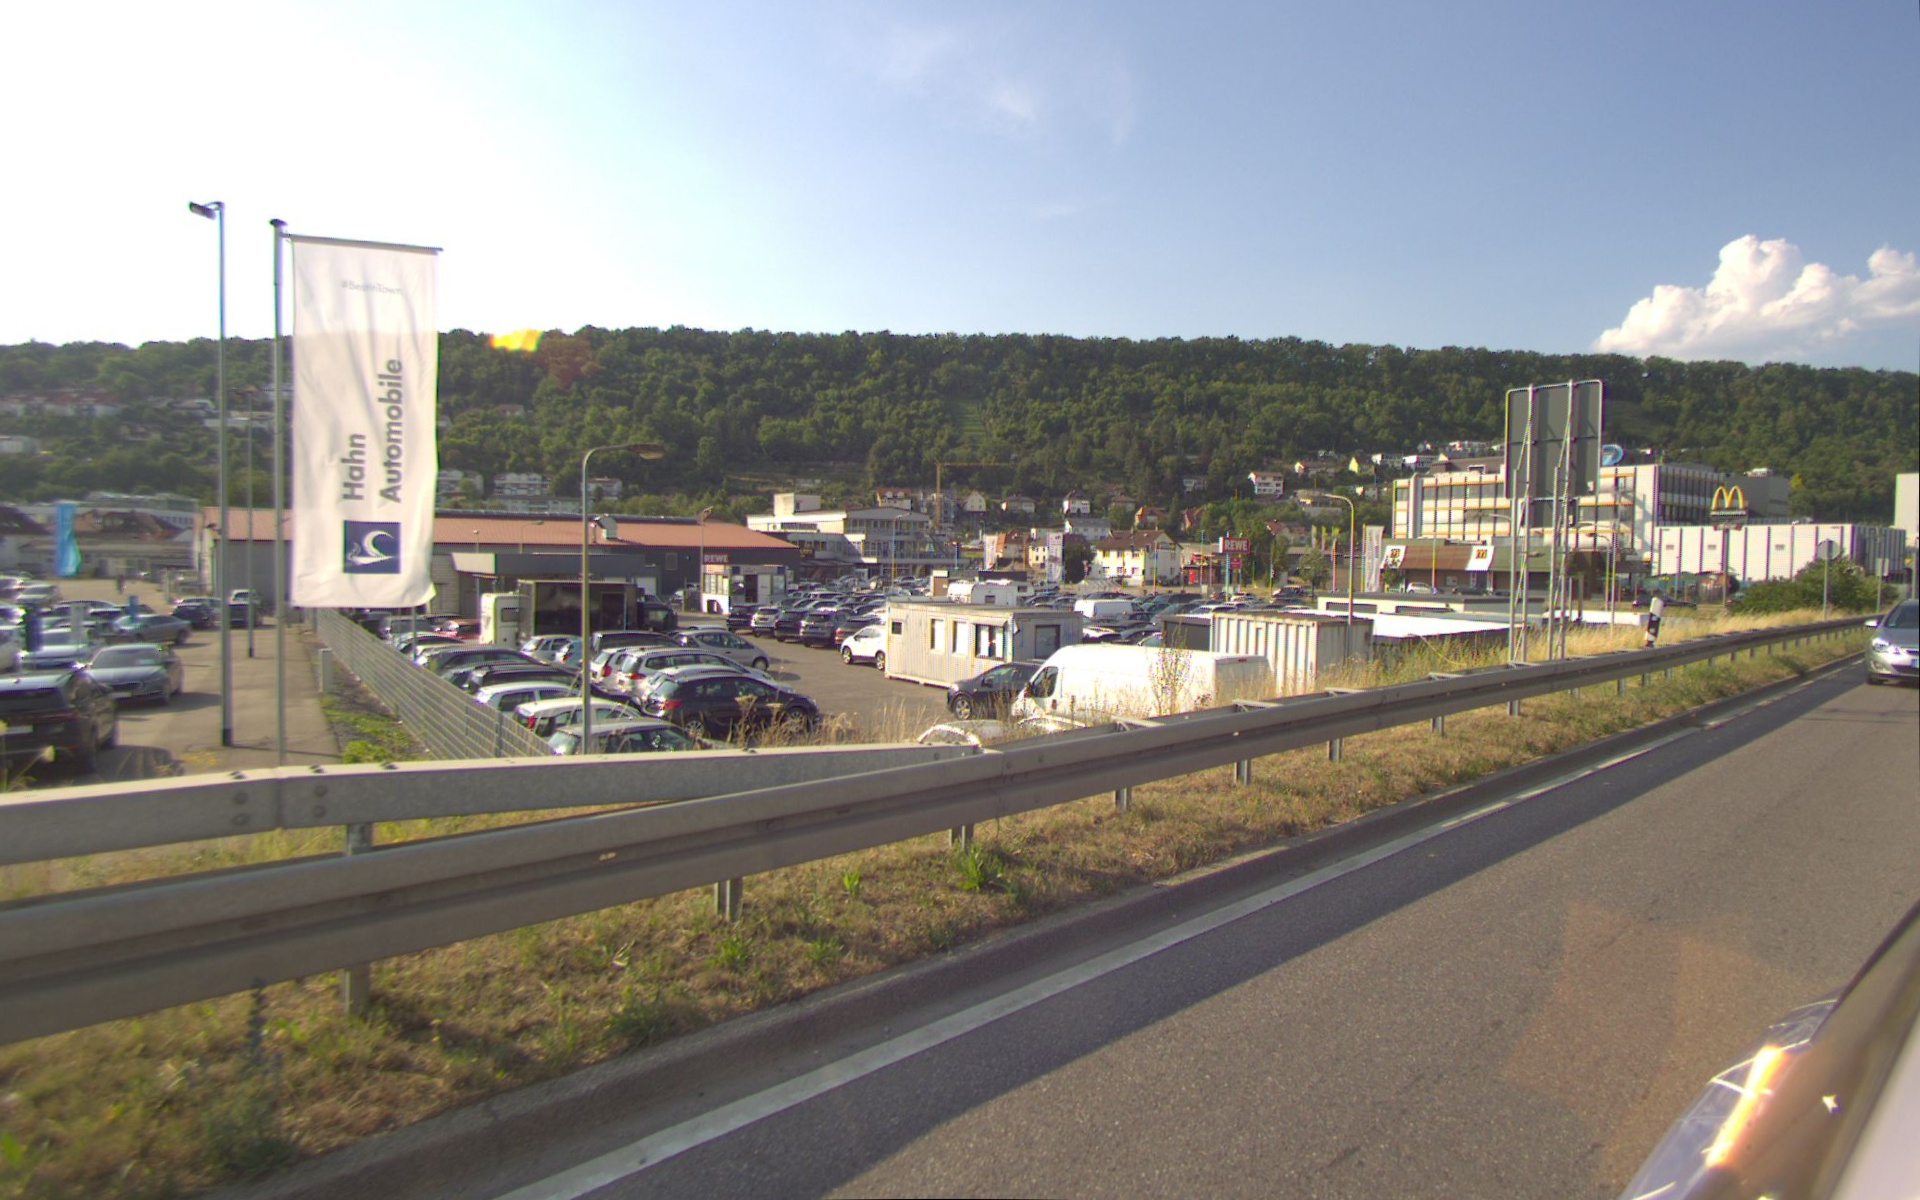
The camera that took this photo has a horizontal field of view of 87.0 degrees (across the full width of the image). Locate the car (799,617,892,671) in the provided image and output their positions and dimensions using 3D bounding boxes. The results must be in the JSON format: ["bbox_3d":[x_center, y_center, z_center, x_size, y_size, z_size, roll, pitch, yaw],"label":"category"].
[{"bbox_3d":[-4.504,1.667,39.307,1.772,1.677,3.999,-2,4,-38],"label":"car"}]

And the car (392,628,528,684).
[{"bbox_3d":[-16.721,1.836,33.925,3.820,1.562,1.800,-2,1,-37],"label":"car"}]

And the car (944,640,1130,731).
[{"bbox_3d":[1.998,2.158,26.584,4.531,2.039,1.882,0,1,29],"label":"car"}]

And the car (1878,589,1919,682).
[{"bbox_3d":[16.902,0.567,17.061,3.817,1.408,1.689,-2,3,-41],"label":"car"}]

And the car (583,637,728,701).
[{"bbox_3d":[-9.059,2.003,30.237,3.818,1.583,1.602,-2,1,-36],"label":"car"}]

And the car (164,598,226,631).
[{"bbox_3d":[-43.578,0.796,57.744,1.958,1.738,4.007,0,1,-24],"label":"car"}]

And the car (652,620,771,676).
[{"bbox_3d":[-8.900,1.679,36.300,3.818,1.722,1.602,-2,1,-36],"label":"car"}]

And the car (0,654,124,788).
[{"bbox_3d":[-16.035,2.000,17.650,1.766,1.735,4.435,-1,2,-34],"label":"car"}]

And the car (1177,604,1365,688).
[{"bbox_3d":[7.429,1.028,24.474,1.868,1.771,3.995,-2,1,-39],"label":"car"}]

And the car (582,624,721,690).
[{"bbox_3d":[-9.883,1.773,32.506,3.944,1.824,1.602,-2,1,-36],"label":"car"}]

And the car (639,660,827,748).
[{"bbox_3d":[-5.357,2.392,24.168,4.105,1.524,1.601,-2,4,-40],"label":"car"}]

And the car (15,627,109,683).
[{"bbox_3d":[-30.419,1.803,34.405,1.766,1.562,4.347,-1,1,-34],"label":"car"}]

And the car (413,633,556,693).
[{"bbox_3d":[-15.140,1.952,32.290,3.820,1.562,1.800,-2,1,-37],"label":"car"}]

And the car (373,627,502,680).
[{"bbox_3d":[-18.360,1.828,35.606,3.819,1.562,1.602,-2,1,-36],"label":"car"}]

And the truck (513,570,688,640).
[{"bbox_3d":[-13.481,0.121,38.217,5.862,2.400,1.998,-2,1,-39],"label":"truck"}]

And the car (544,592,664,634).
[{"bbox_3d":[-14.481,0.487,41.209,4.266,1.562,1.800,-2,1,-37],"label":"car"}]

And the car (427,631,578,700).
[{"bbox_3d":[-13.545,1.888,30.028,3.818,1.722,1.602,-2,1,-36],"label":"car"}]

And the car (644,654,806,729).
[{"bbox_3d":[-6.089,2.316,26.426,3.794,1.530,1.602,-2,1,-36],"label":"car"}]

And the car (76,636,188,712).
[{"bbox_3d":[-21.271,1.821,26.148,1.766,1.562,4.434,-1,1,-34],"label":"car"}]

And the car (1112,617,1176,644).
[{"bbox_3d":[8.804,1.447,48.516,2.707,1.138,1.279,-1,1,-19],"label":"car"}]

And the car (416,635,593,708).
[{"bbox_3d":[-12.459,1.891,27.786,4.205,1.614,1.602,-2,1,-36],"label":"car"}]

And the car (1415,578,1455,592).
[{"bbox_3d":[56.831,-1.794,121.070,1.828,1.475,3.996,-2,4,-40],"label":"car"}]

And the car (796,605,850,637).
[{"bbox_3d":[-7.786,1.168,57.293,1.615,1.689,3.650,-1,1,-33],"label":"car"}]

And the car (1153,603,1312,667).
[{"bbox_3d":[8.383,1.056,31.419,2.092,1.772,4.330,4,-3,-39],"label":"car"}]

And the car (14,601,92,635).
[{"bbox_3d":[-48.577,0.931,54.314,1.958,1.738,4.007,0,1,-24],"label":"car"}]

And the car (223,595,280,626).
[{"bbox_3d":[-41.189,0.570,58.918,1.958,1.738,4.007,0,1,-24],"label":"car"}]

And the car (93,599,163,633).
[{"bbox_3d":[-46.059,0.865,56.092,1.958,1.738,4.007,0,1,-24],"label":"car"}]

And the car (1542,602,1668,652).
[{"bbox_3d":[26.148,1.060,41.113,1.802,1.838,3.995,-2,1,-40],"label":"car"}]

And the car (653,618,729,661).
[{"bbox_3d":[-11.513,1.646,43.127,1.766,1.562,4.346,-1,1,-34],"label":"car"}]

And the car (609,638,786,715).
[{"bbox_3d":[-7.346,2.073,28.500,4.413,1.722,1.972,-2,1,-36],"label":"car"}]

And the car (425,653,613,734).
[{"bbox_3d":[-11.210,2.305,25.861,4.163,1.614,1.602,-2,1,-36],"label":"car"}]
